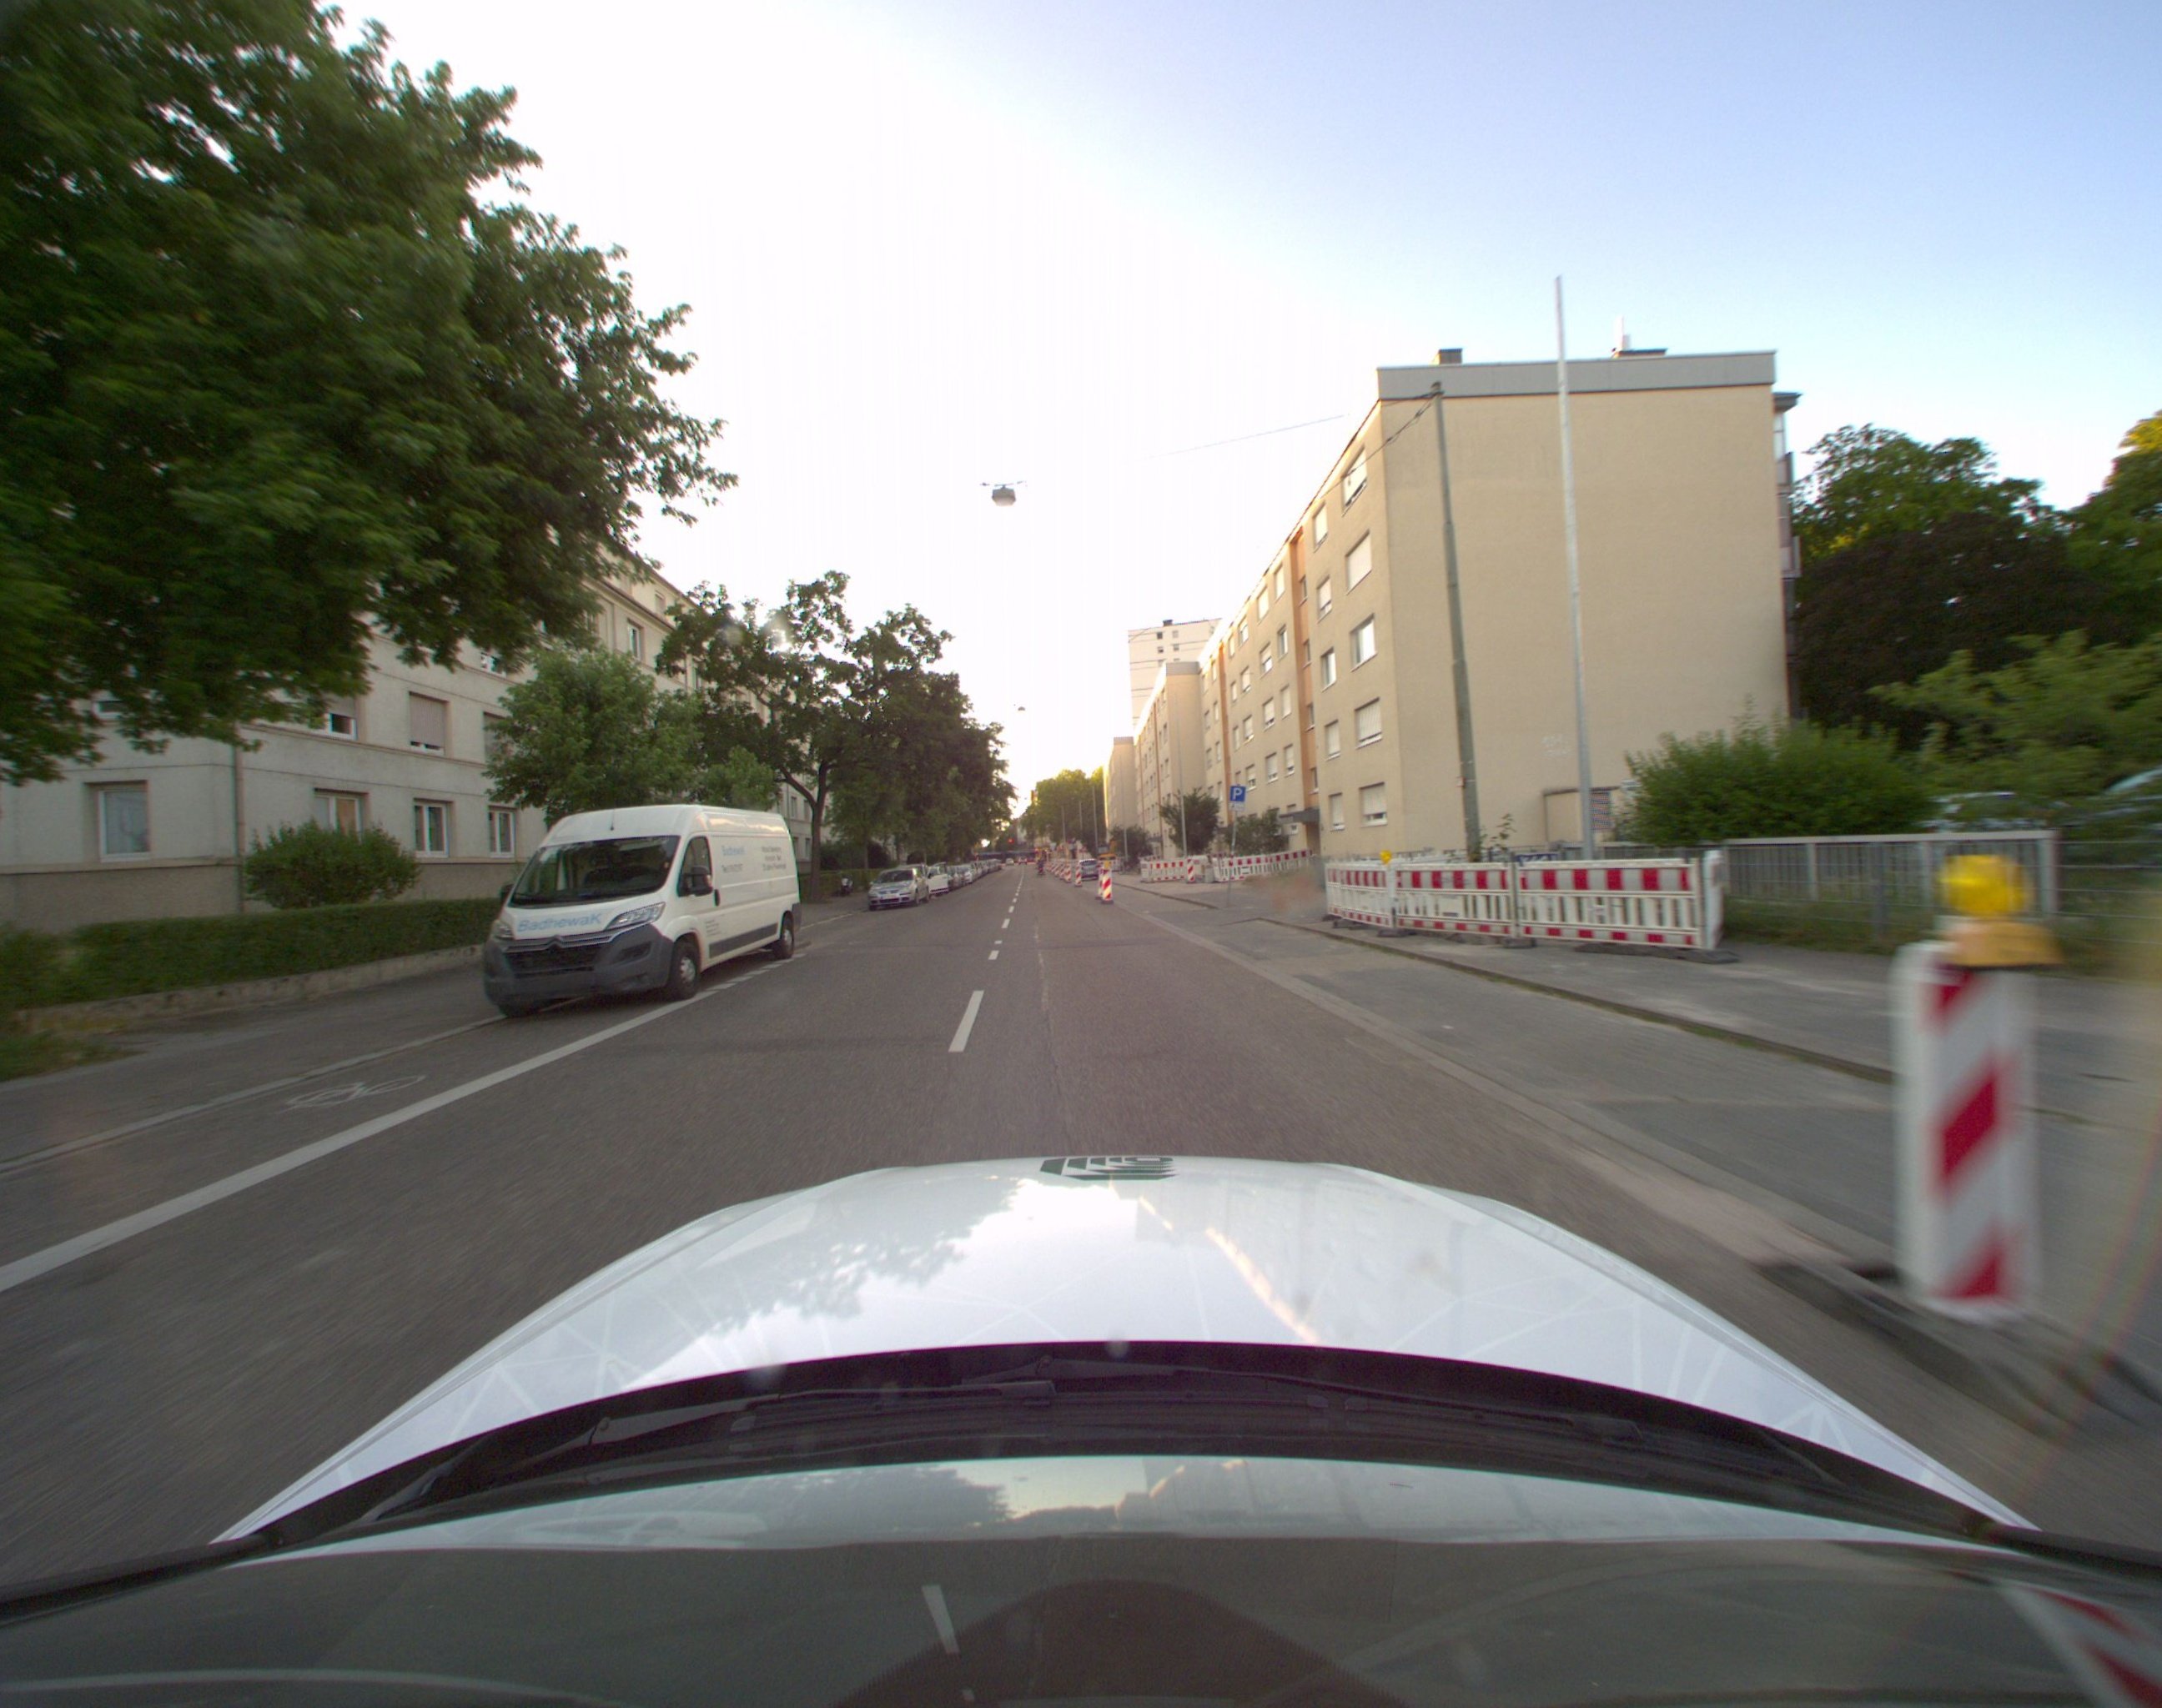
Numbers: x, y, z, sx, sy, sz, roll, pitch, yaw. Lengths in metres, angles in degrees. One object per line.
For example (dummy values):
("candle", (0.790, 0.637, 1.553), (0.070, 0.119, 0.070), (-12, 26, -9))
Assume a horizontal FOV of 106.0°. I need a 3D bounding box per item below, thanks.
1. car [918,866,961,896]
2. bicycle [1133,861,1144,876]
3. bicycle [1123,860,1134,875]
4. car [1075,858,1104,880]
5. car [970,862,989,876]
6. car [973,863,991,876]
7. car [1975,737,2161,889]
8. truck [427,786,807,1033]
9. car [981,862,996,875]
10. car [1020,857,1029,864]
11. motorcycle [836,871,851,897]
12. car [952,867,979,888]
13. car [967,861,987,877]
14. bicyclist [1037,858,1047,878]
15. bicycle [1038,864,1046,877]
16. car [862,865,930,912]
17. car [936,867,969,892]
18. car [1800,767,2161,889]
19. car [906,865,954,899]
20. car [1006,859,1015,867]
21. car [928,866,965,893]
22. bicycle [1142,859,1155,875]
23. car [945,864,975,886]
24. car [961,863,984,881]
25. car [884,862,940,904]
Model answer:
("car", (-7.890, 1.475, 45.720), (1.753, 1.443, 3.922), (-6, 0, -3))
("bicycle", (4.466, 1.095, 63.110), (0.615, 1.107, 2.233), (-3, 0, -2))
("bicycle", (3.722, 1.069, 63.585), (0.615, 1.107, 2.233), (-3, 0, -2))
("car", (0.564, 1.041, 58.233), (1.776, 1.390, 3.995), (-3, 0, -4))
("car", (-11.409, 1.688, 91.787), (1.753, 1.443, 3.449), (-6, 0, -3))
("car", (-11.903, 1.857, 98.259), (1.753, 1.443, 3.449), (-6, 0, -3))
("car", (15.064, -0.606, 10.789), (4.199, 1.826, 2.000), (-3, 0, -1))
("truck", (-5.861, 0.591, 11.542), (2.097, 2.422, 6.037), (-4, 0, -4))
("car", (-11.711, 1.783, 103.322), (1.649, 1.443, 3.449), (-6, 0, -3))
("car", (-13.362, 1.497, 192.683), (1.693, 1.443, 3.445), (-6, 0, -7))
("motorcycle", (-12.429, 1.558, 42.713), (0.411, 1.332, 1.295), (-3, -1, -3))
("car", (-9.323, 1.887, 66.079), (1.753, 1.443, 3.449), (-6, 0, -3))
("car", (-10.810, 1.564, 84.970), (1.753, 1.443, 3.449), (-6, 0, -3))
("bicyclist", (-3.601, 1.290, 75.548), (0.790, 1.800, 1.016), (-3, -1, -4))
("bicycle", (-3.604, 1.507, 74.789), (0.640, 1.115, 3.051), (-3, 0, -3))
("car", (-6.885, 1.231, 30.703), (1.753, 1.483, 3.922), (-6, 0, -3))
("car", (-8.742, 1.696, 55.639), (1.753, 1.443, 3.449), (-6, 0, -3))
("car", (14.836, -0.408, 13.398), (4.199, 1.647, 2.000), (-3, 0, -1))
("car", (-7.544, 1.349, 41.090), (1.753, 1.443, 3.922), (-6, 0, -3))
("car", (-15.897, 2.040, 183.463), (1.754, 1.443, 3.447), (-6, 0, -5))
("car", (-8.352, 1.573, 50.856), (1.774, 1.423, 3.741), (-6, 0, -3))
("bicycle", (4.704, 0.908, 57.259), (0.615, 1.107, 2.233), (-3, 0, -2))
("car", (-9.044, 1.561, 60.960), (1.753, 1.443, 3.449), (-6, 0, -3))
("car", (-10.232, 1.700, 76.742), (1.753, 1.443, 3.449), (-6, 0, -3))
("car", (-7.516, 1.254, 36.604), (1.753, 1.604, 3.922), (-6, 0, -3))
